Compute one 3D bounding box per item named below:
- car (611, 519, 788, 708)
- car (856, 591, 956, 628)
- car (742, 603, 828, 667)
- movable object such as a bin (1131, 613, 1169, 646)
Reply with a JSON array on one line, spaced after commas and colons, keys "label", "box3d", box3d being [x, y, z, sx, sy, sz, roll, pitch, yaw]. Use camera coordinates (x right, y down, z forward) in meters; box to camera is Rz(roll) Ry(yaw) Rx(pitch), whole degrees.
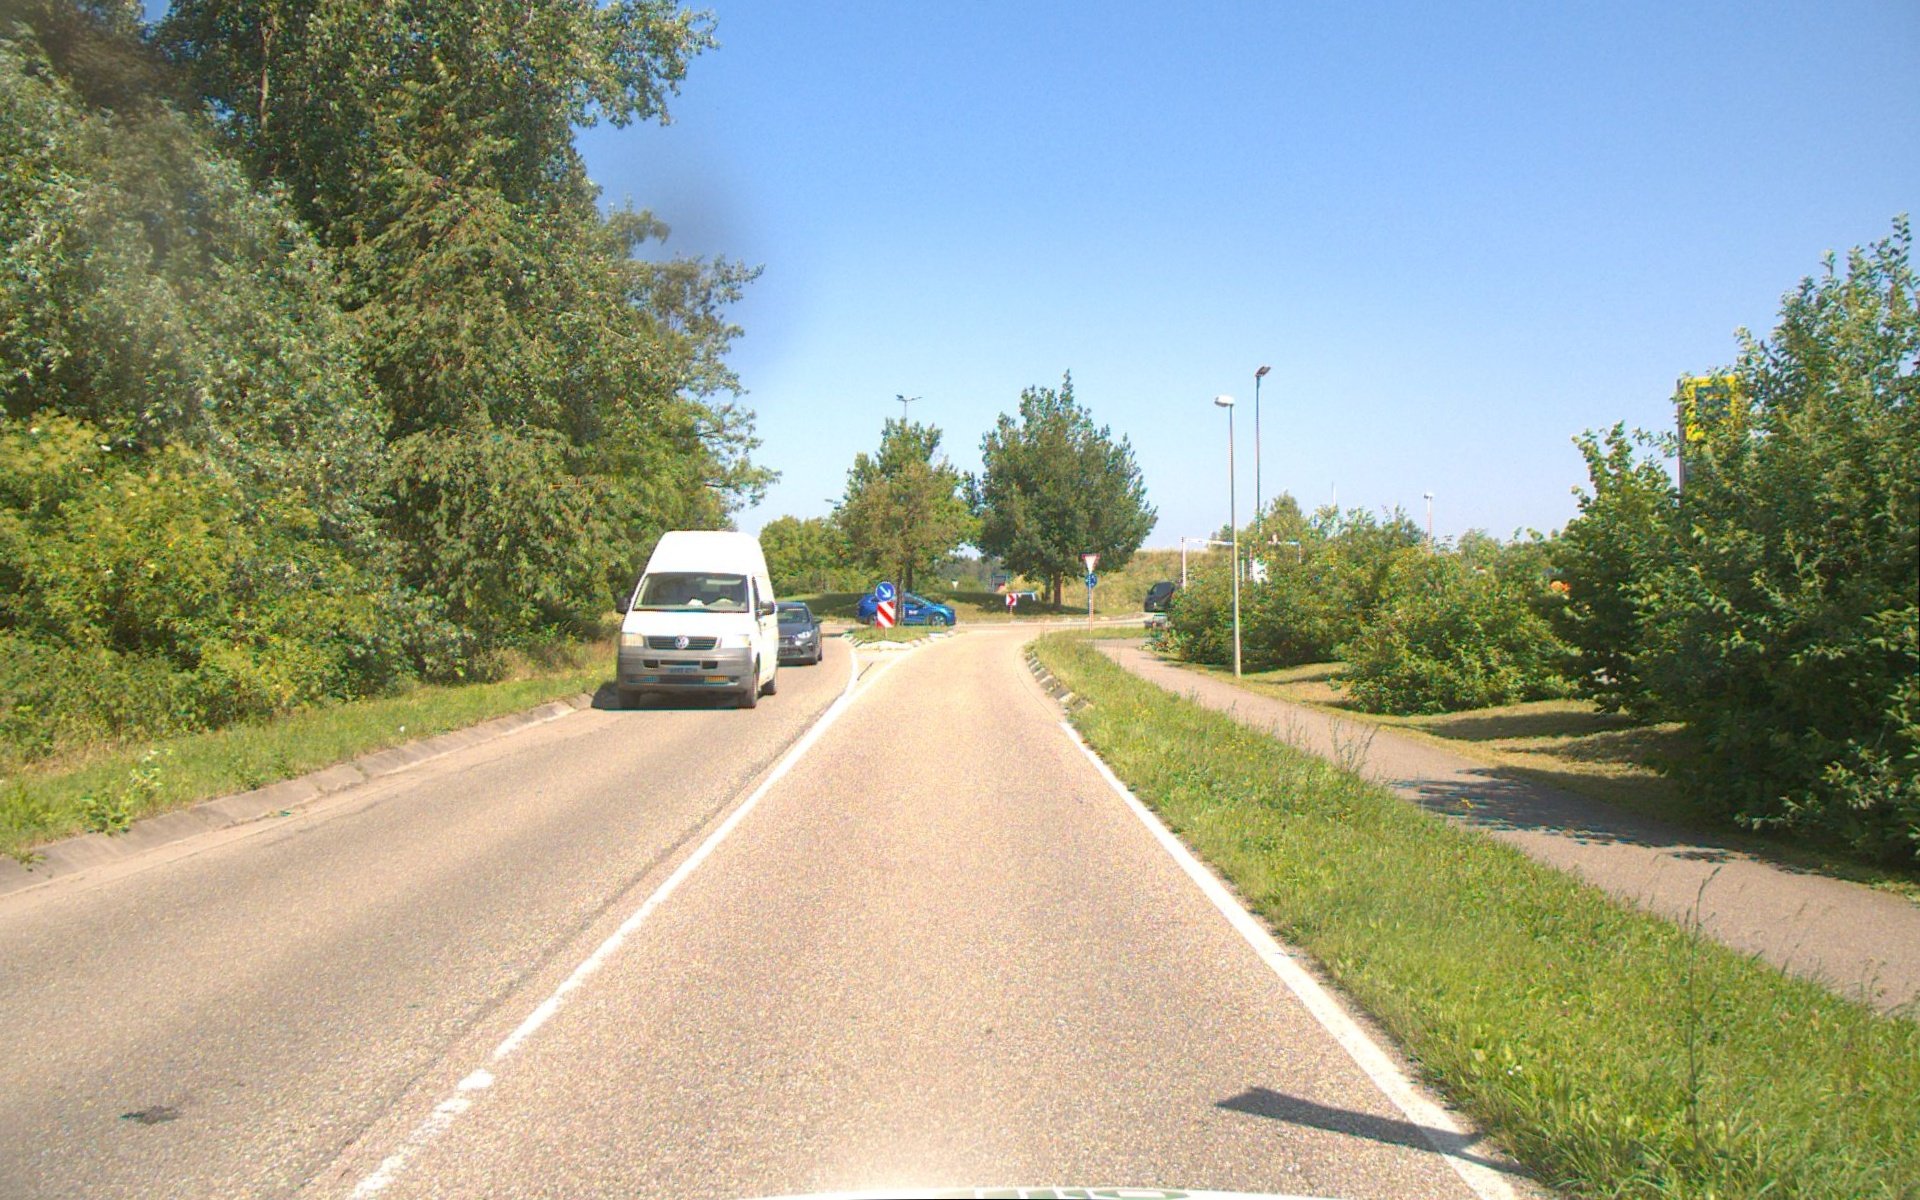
[{"label": "car", "box3d": [-3.634, 0.173, 23.920, 1.873, 2.442, 4.909, 0, 0, -1]}, {"label": "car", "box3d": [-2.416, 0.394, 73.653, 4.329, 1.599, 1.714, 0, 0, -7]}, {"label": "car", "box3d": [-4.133, 0.790, 39.609, 1.664, 1.413, 4.293, 0, 0, -1]}, {"label": "movable object such as a bin", "box3d": [6.651, 1.018, 57.800, 0.851, 1.140, 1.453, 0, 0, 27]}]
